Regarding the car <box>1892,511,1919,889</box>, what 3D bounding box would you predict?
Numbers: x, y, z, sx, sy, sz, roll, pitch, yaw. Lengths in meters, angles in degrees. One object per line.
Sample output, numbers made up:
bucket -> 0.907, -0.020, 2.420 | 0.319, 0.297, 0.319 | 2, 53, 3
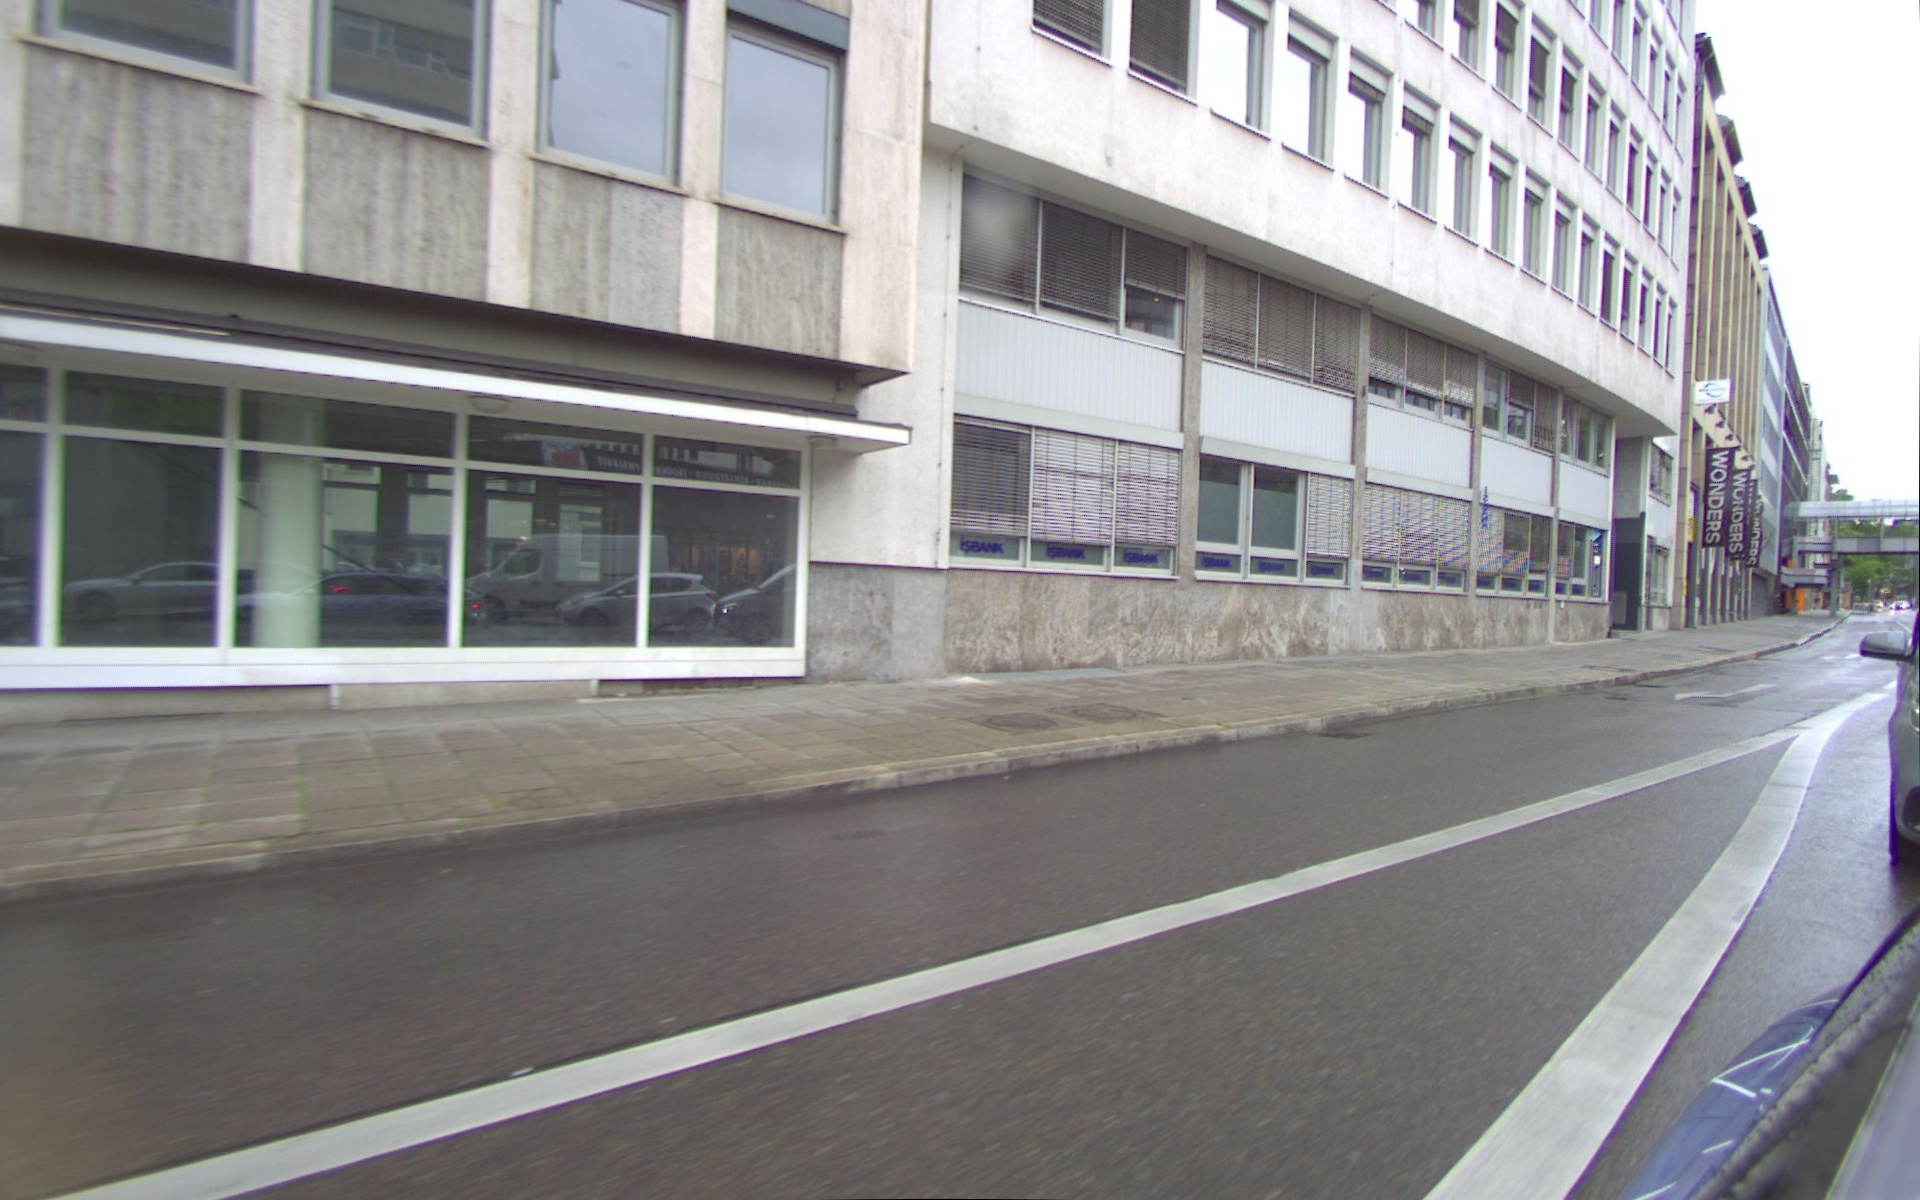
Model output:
car -> 7.135, 0.497, 6.139 | 4.943, 1.879, 1.913 | 0, 0, -44
